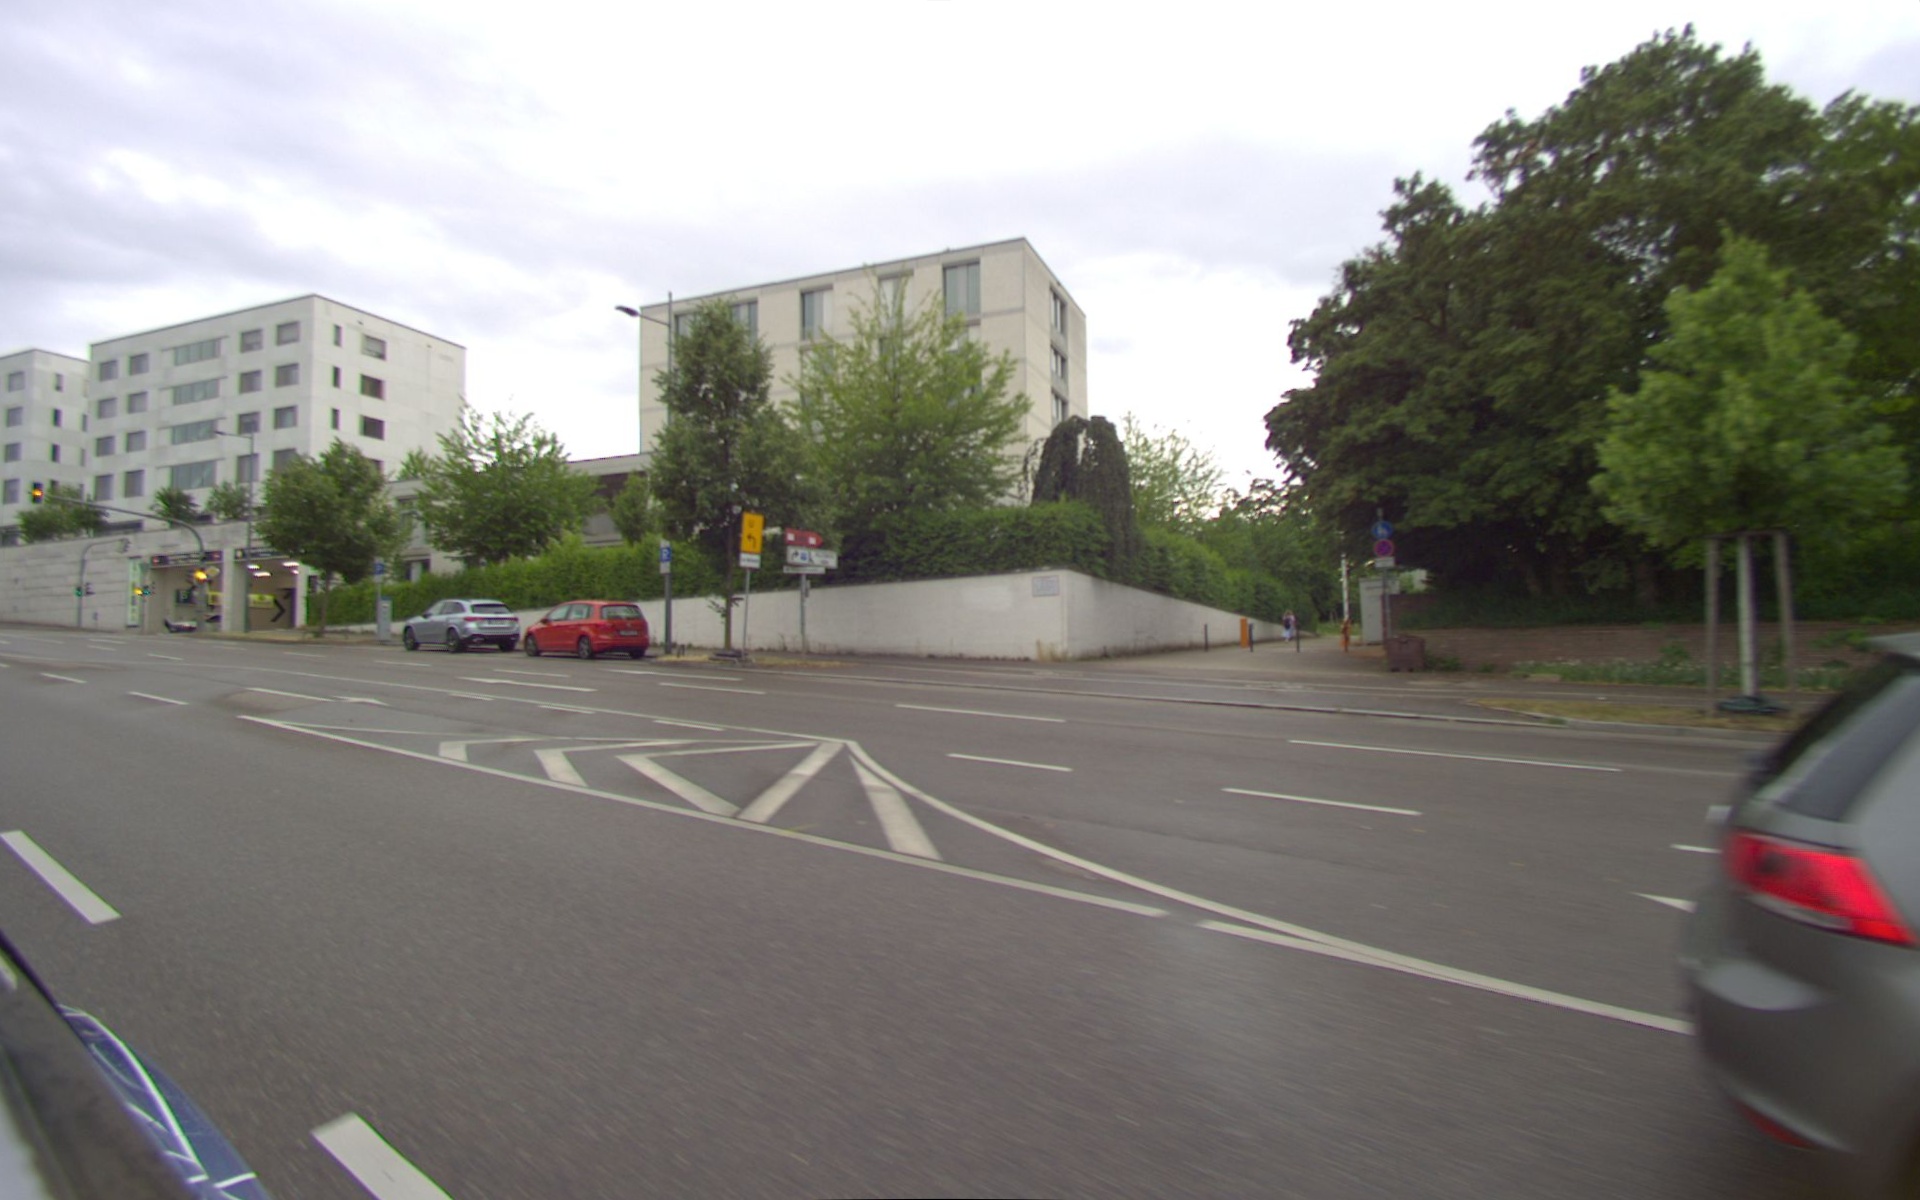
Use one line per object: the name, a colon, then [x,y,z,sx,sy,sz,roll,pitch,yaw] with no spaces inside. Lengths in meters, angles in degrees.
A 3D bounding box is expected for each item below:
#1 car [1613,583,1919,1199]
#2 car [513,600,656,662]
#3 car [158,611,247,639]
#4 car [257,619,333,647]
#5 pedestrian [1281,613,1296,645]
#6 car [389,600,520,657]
car: [3.604,0.652,1.434,4.293,1.452,1.852,-2,-1,40]
car: [-10.321,0.829,27.713,4.211,1.599,1.649,0,-2,38]
car: [-49.975,1.657,66.857,1.985,1.664,4.318,1,-3,20]
car: [-45.504,2.281,69.348,1.789,1.785,3.968,1,-3,23]
pedestrian: [16.508,1.444,50.836,0.644,1.583,0.629,-1,-1,25]
car: [-15.971,0.850,31.885,4.876,1.666,1.747,0,-1,38]
